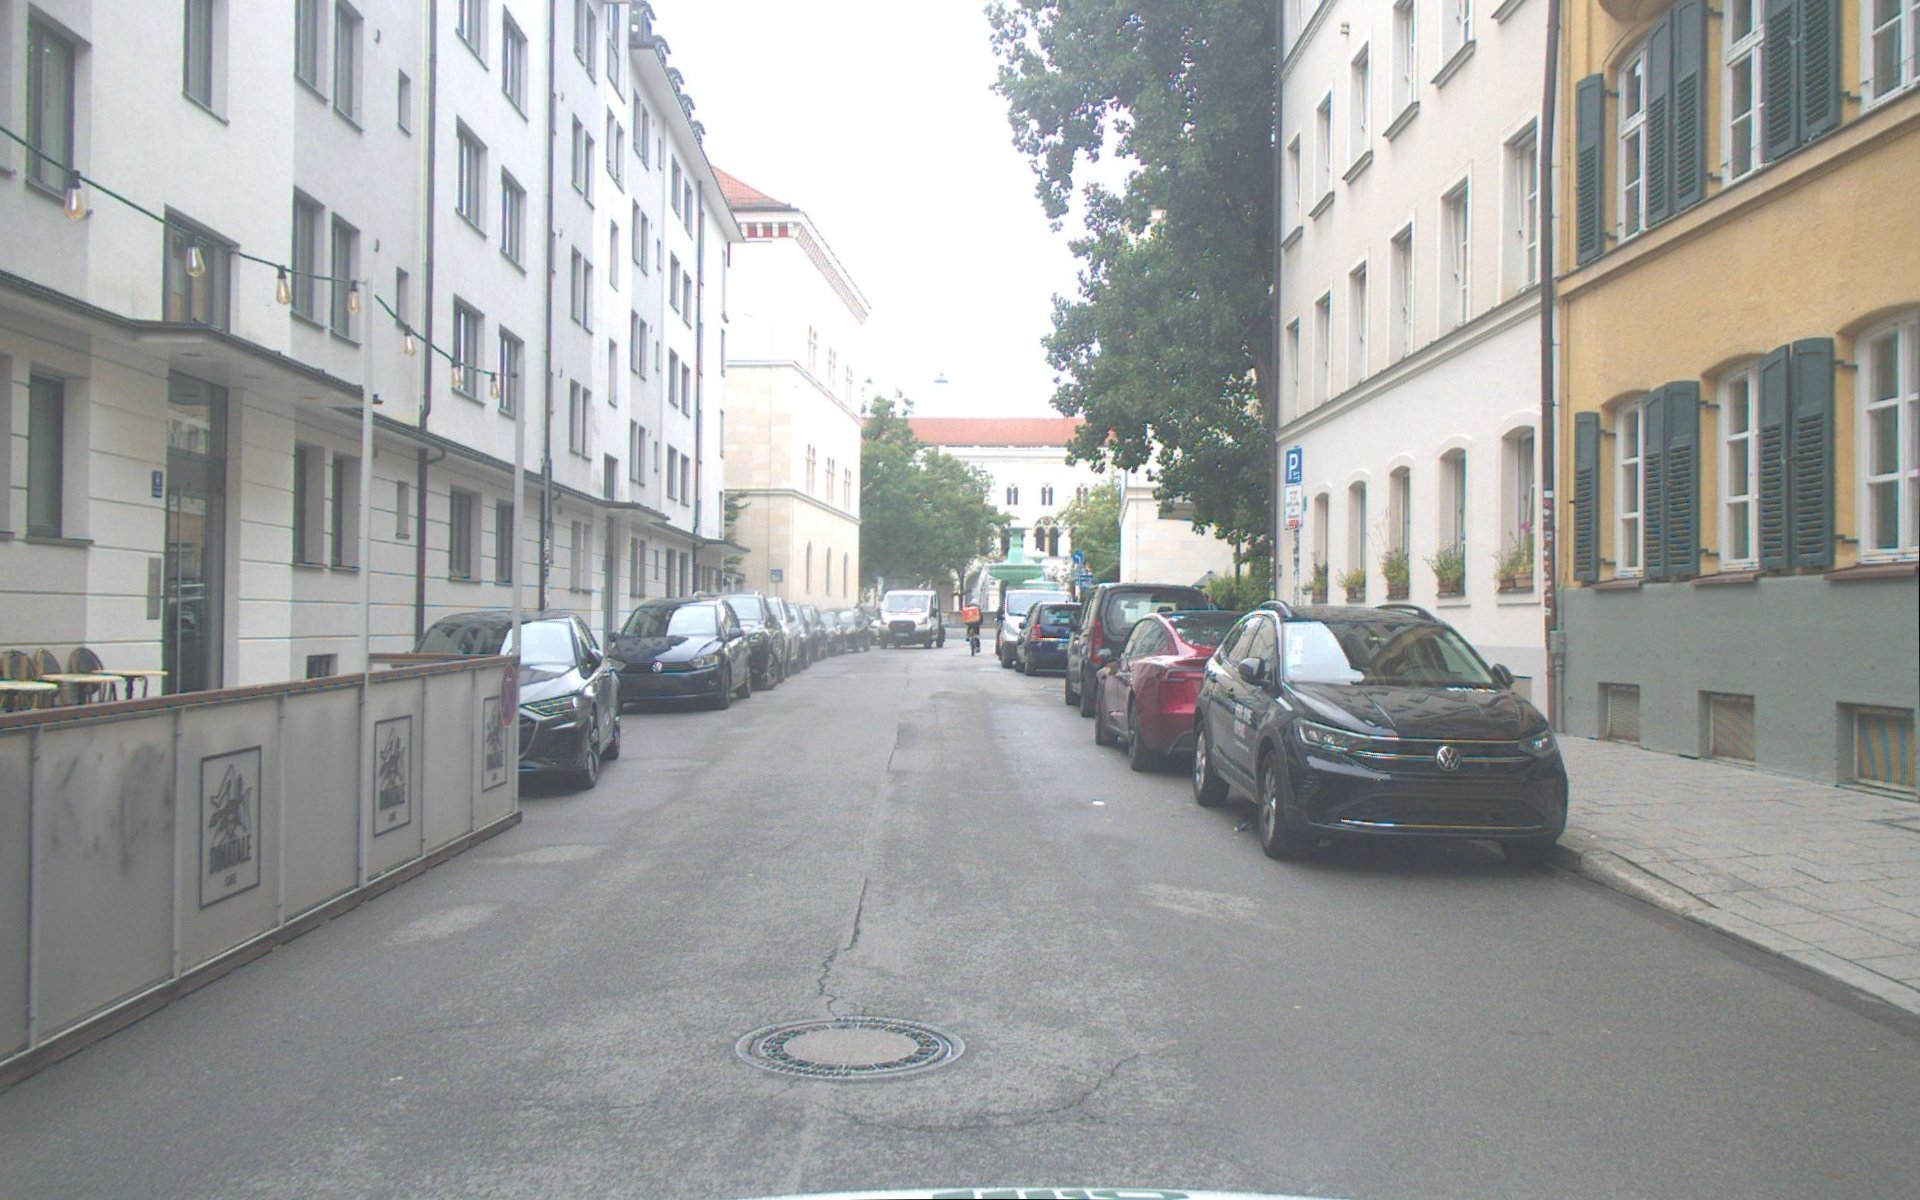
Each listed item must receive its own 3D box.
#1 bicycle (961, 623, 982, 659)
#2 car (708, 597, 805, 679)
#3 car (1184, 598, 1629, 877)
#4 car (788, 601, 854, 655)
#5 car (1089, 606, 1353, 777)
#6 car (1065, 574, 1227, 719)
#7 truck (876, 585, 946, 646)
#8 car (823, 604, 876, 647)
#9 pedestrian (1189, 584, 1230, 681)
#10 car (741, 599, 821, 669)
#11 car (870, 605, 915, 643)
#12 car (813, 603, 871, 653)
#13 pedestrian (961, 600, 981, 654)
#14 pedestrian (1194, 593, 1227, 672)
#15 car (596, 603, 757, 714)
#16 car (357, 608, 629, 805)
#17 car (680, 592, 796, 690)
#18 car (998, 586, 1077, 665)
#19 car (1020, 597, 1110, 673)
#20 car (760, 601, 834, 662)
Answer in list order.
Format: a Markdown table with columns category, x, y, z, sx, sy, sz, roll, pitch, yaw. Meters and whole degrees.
| category | x | y | z | sx | sy | sz | roll | pitch | yaw |
| --- | --- | --- | --- | --- | --- | --- | --- | --- | --- |
| bicycle | 0.360 | 1.317 | 53.169 | 0.661 | 1.114 | 1.760 | 0 | -1 | 0 |
| car | -4.267 | 0.774 | 35.215 | 1.672 | 1.637 | 3.861 | -1 | 0 | -2 |
| car | 2.735 | 0.766 | 11.173 | 1.775 | 1.490 | 4.245 | 1 | 0 | -1 |
| car | -4.407 | 0.871 | 52.918 | 1.671 | 1.637 | 3.863 | -1 | 0 | 1 |
| car | 2.429 | 0.806 | 16.451 | 1.775 | 1.449 | 4.244 | 1 | 0 | -2 |
| car | 2.548 | 0.617 | 23.536 | 1.775 | 1.829 | 4.246 | 1 | 0 | 0 |
| truck | -1.839 | 0.636 | 64.809 | 2.076 | 2.287 | 6.188 | 0 | -1 | 5 |
| car | -4.247 | 0.969 | 63.948 | 1.671 | 1.609 | 3.863 | -1 | 0 | 2 |
| pedestrian | 5.284 | 0.687 | 35.068 | 0.656 | 2.015 | 0.708 | -3 | -1 | 0 |
| car | -4.432 | 0.821 | 41.463 | 1.672 | 1.637 | 3.861 | -1 | 0 | -2 |
| car | -2.920 | 1.026 | 72.543 | 1.671 | 1.609 | 3.863 | -1 | 0 | 2 |
| car | -4.101 | 0.955 | 57.973 | 1.671 | 1.637 | 3.863 | -1 | 0 | 1 |
| pedestrian | 0.364 | 0.875 | 53.226 | 0.629 | 1.744 | 0.842 | 0 | -1 | 0 |
| pedestrian | 6.549 | 0.861 | 43.249 | 0.656 | 2.015 | 0.708 | -3 | -1 | 0 |
| car | -4.069 | 0.798 | 24.269 | 1.781 | 1.470 | 3.817 | -1 | 0 | -2 |
| car | -3.907 | 0.806 | 14.471 | 1.729 | 1.435 | 4.148 | -1 | 0 | -8 |
| car | -3.963 | 0.703 | 30.011 | 1.672 | 1.637 | 3.861 | -1 | 0 | -2 |
| car | 1.980 | 0.656 | 43.404 | 1.814 | 1.953 | 4.768 | 0 | 0 | 0 |
| car | 2.324 | 0.762 | 37.522 | 1.775 | 1.642 | 4.155 | 0 | 0 | 0 |
| car | -4.611 | 0.879 | 47.307 | 1.671 | 1.637 | 3.863 | -1 | 0 | 1 |
